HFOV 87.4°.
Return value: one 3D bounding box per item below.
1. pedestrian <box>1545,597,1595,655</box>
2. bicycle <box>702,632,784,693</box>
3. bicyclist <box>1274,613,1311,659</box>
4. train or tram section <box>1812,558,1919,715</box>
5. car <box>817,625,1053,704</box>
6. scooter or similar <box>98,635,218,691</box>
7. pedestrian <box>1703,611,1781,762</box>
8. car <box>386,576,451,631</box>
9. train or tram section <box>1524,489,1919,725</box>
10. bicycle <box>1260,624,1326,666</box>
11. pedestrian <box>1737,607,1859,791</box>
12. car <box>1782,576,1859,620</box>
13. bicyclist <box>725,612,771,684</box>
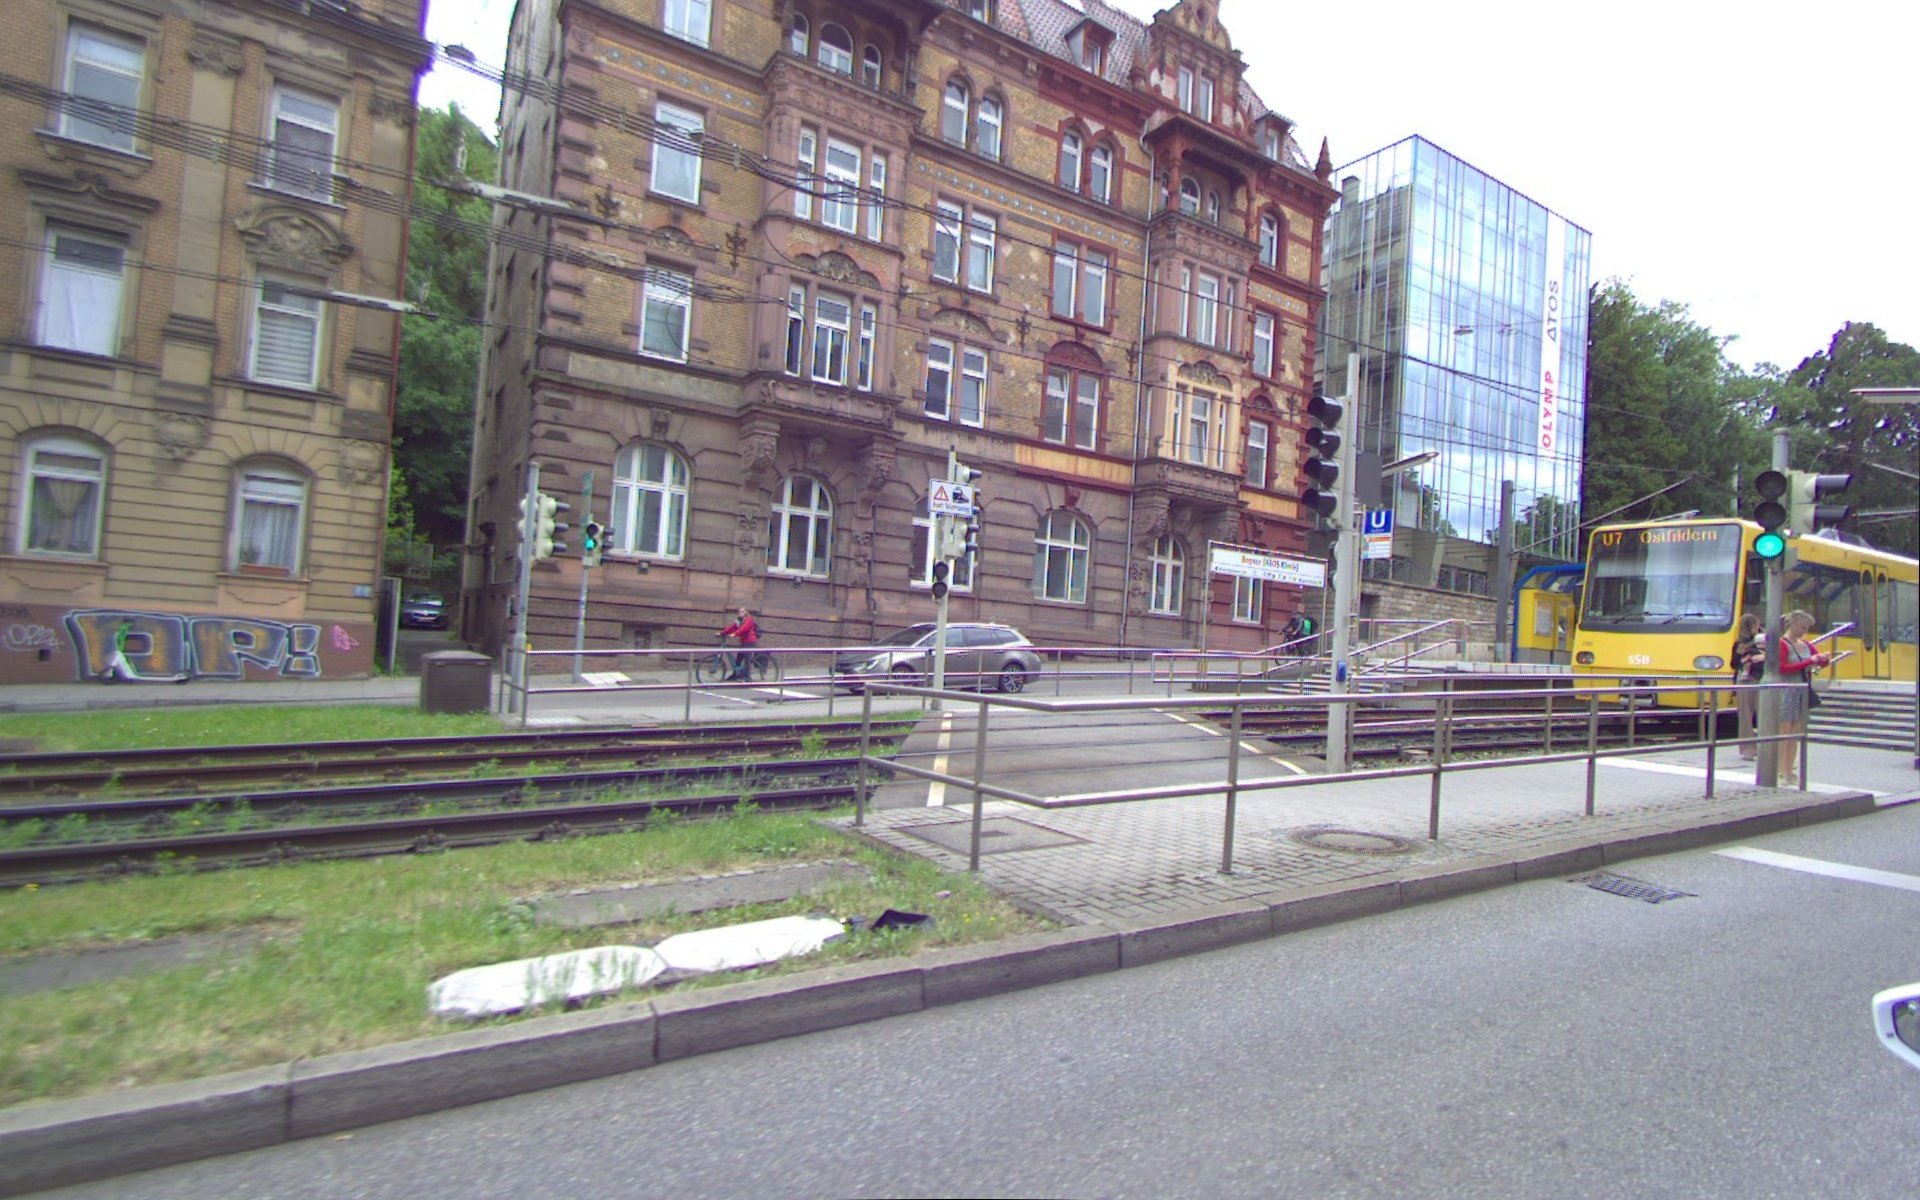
[{"bbox_3d":[17.395,0.736,28.657,0.756,1.617,0.970,1,-1,-31],"label":"pedestrian"},{"bbox_3d":[-4.591,1.307,21.240,1.582,1.239,0.622,1,-1,-29],"label":"bicycle"},{"bbox_3d":[10.659,1.132,32.218,0.898,1.447,0.763,1,-1,-36],"label":"bicyclist"},{"bbox_3d":[26.347,1.276,26.067,12.086,3.516,2.934,5,-4,-32],"label":"train or tram section"},{"bbox_3d":[-0.454,1.228,20.327,4.512,1.437,1.871,1,-1,-34],"label":"car"},{"bbox_3d":[-14.154,1.114,17.775,1.567,0.954,0.426,2,-1,-27],"label":"scooter or similar"},{"bbox_3d":[9.274,0.998,11.915,0.655,1.717,0.616,1,-1,-41],"label":"pedestrian"},{"bbox_3d":[-21.427,0.169,39.680,1.978,2.040,3.965,1,-1,-32],"label":"car"},{"bbox_3d":[15.952,0.486,19.720,12.262,3.589,2.934,4,-3,-32],"label":"train or tram section"},{"bbox_3d":[10.717,1.429,32.269,2.403,1.301,0.768,1,-1,-37],"label":"bicycle"},{"bbox_3d":[8.125,0.927,9.755,0.675,1.702,0.677,1,0,-22],"label":"pedestrian"},{"bbox_3d":[44.055,-0.096,51.413,3.958,2.040,1.981,2,0,-34],"label":"car"},{"bbox_3d":[-4.525,1.009,21.424,0.803,1.500,0.615,1,-1,-30],"label":"bicyclist"}]
